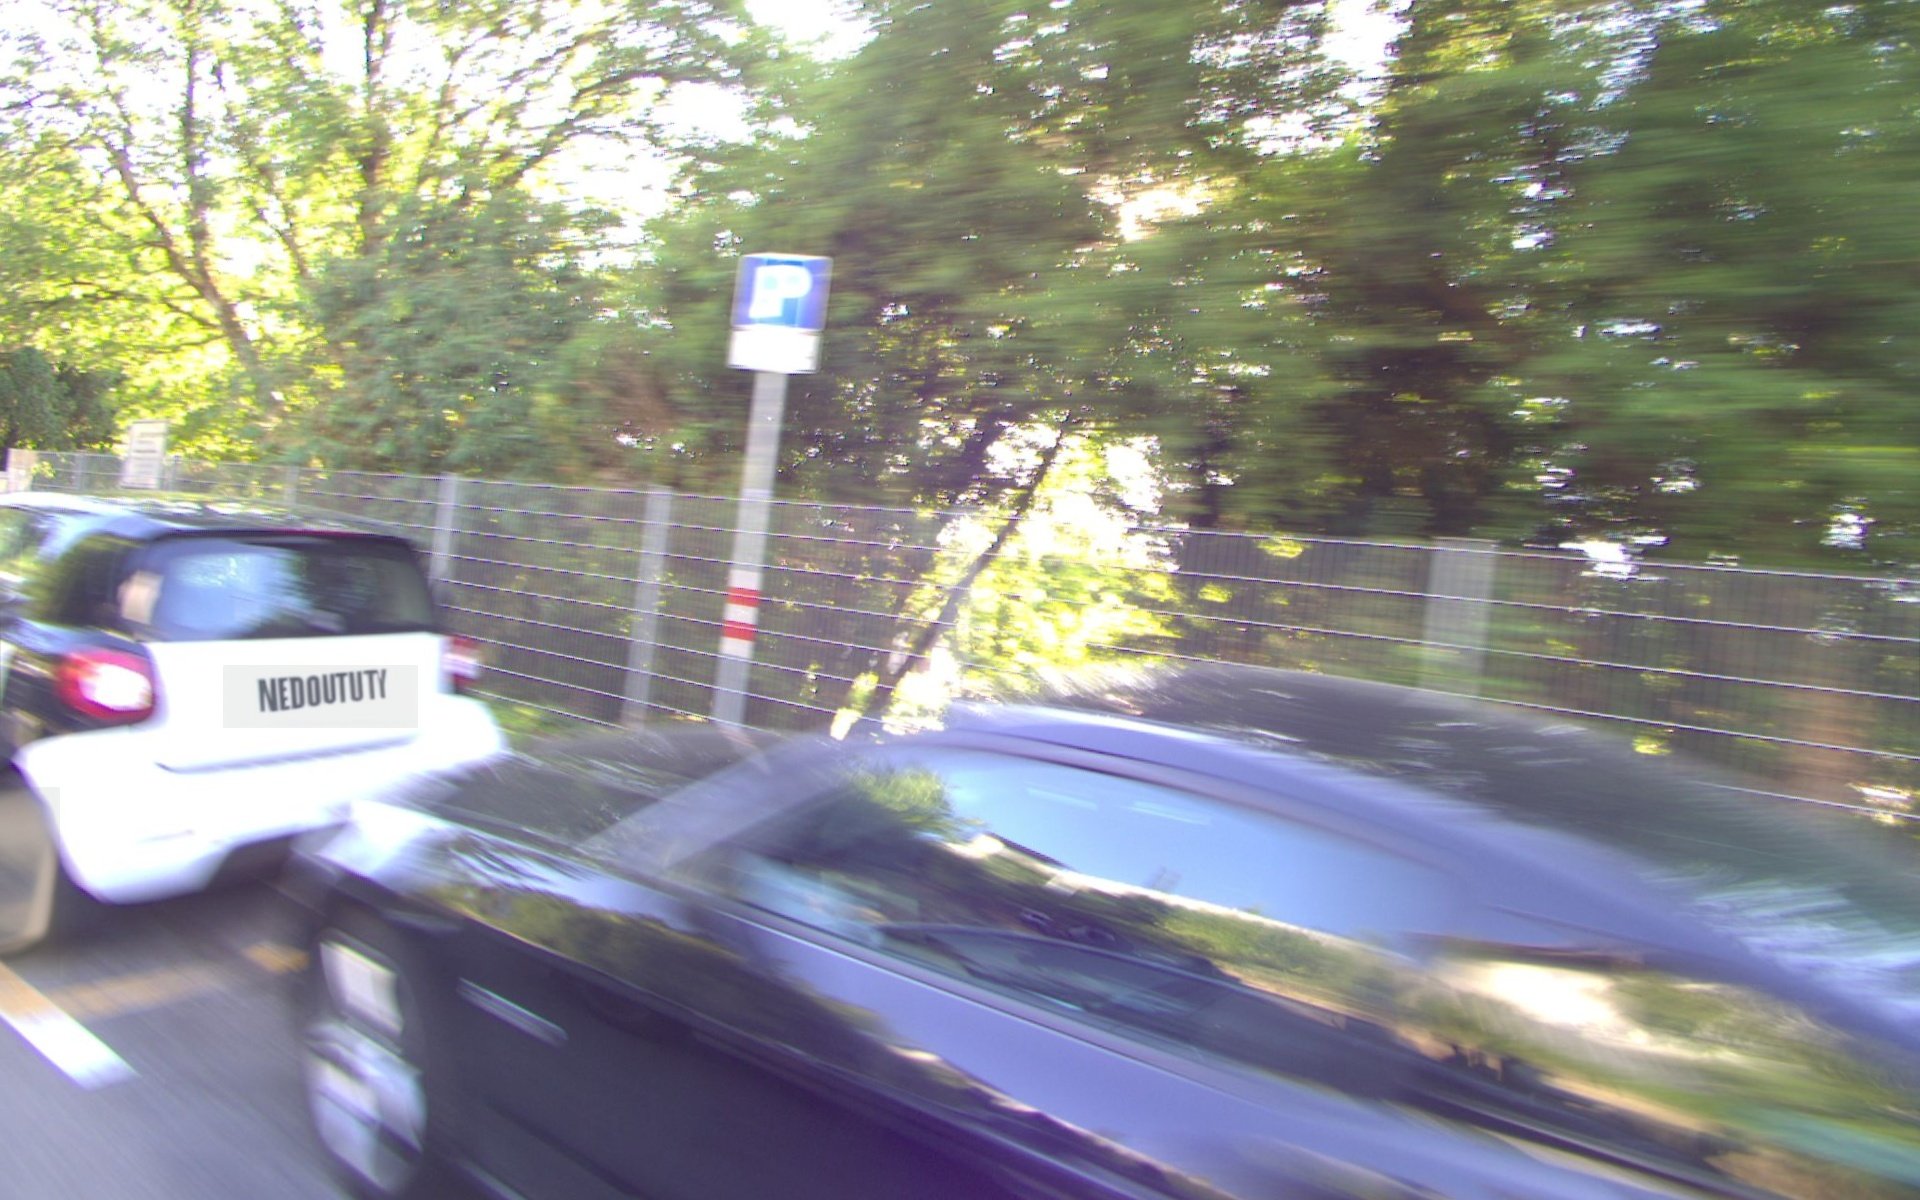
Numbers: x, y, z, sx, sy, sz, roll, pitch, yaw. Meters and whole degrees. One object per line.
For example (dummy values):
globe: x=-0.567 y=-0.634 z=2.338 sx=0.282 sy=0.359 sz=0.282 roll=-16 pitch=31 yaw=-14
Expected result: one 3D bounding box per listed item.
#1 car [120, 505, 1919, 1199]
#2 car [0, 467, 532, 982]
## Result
car: x=0.198 y=0.815 z=2.195 sx=4.736 sy=1.514 sz=1.713 roll=7 pitch=-2 yaw=34
car: x=-3.598 y=0.266 z=4.424 sx=2.852 sy=1.530 sz=1.627 roll=8 pitch=2 yaw=28
